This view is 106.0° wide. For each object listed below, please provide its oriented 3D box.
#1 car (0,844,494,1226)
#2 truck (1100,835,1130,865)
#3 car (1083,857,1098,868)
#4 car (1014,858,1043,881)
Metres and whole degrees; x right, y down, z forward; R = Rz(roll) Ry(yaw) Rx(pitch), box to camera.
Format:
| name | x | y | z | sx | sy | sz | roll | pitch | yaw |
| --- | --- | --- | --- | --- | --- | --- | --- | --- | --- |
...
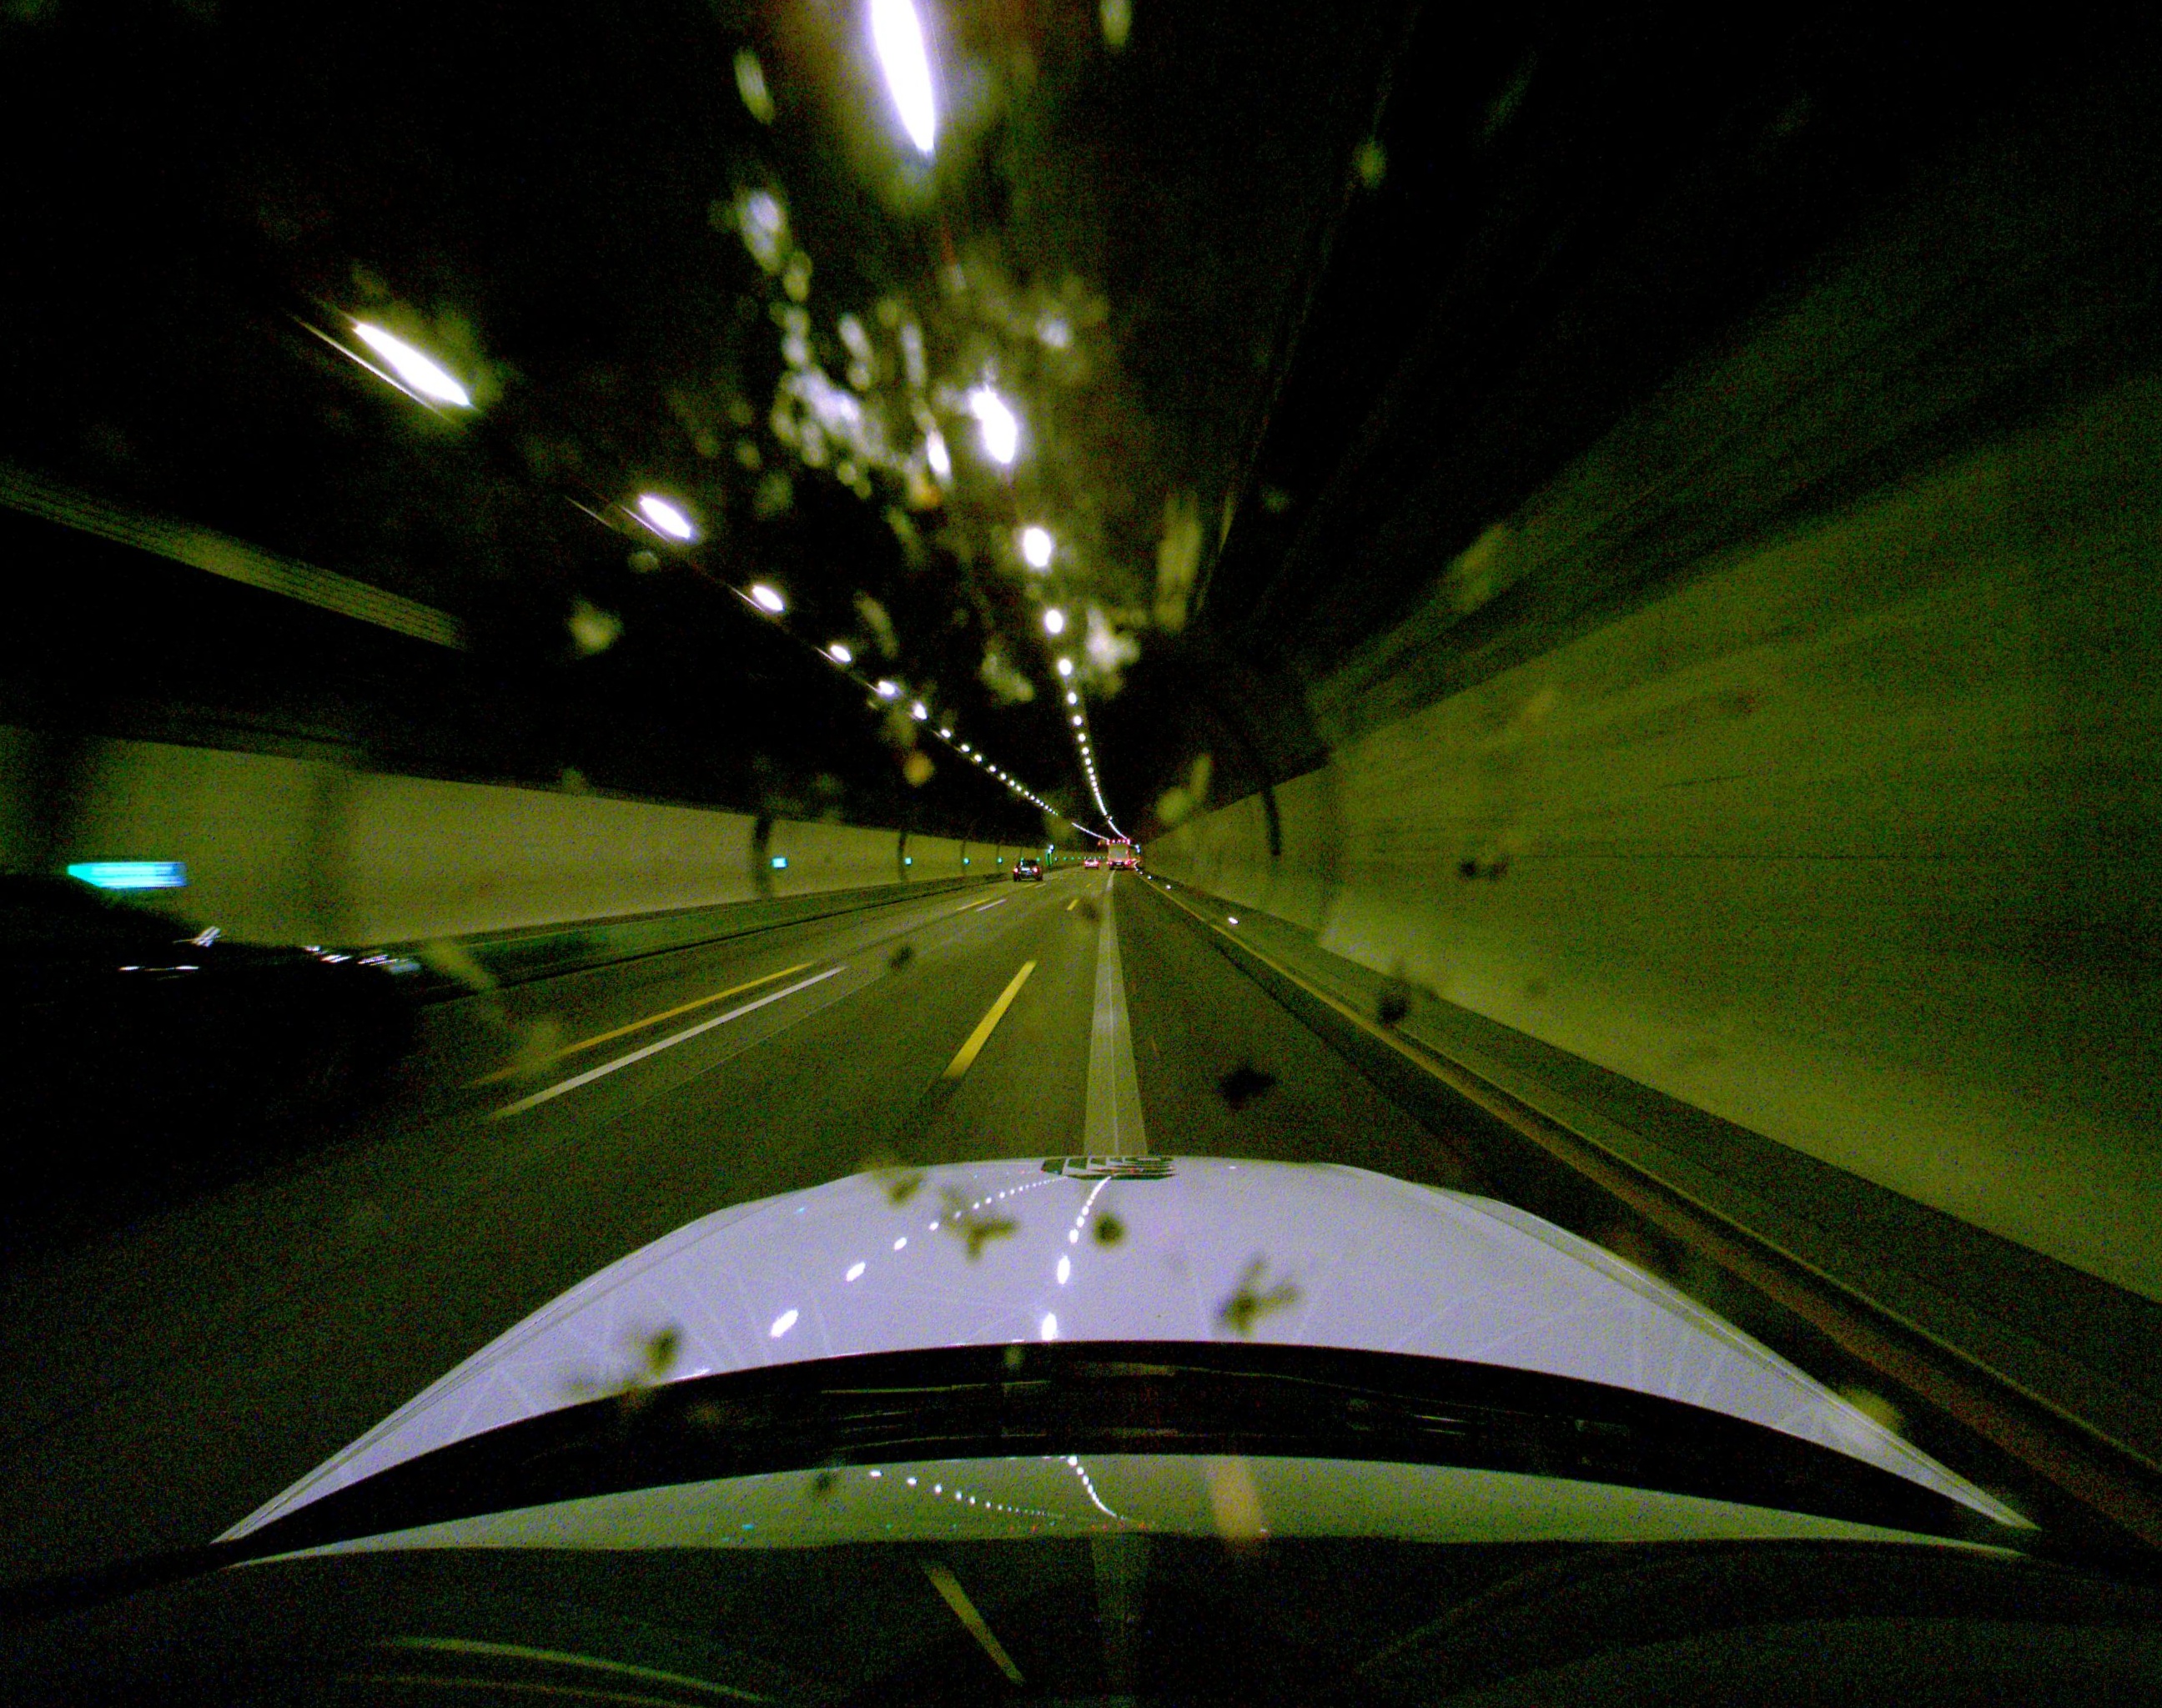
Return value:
| name | x | y | z | sx | sy | sz | roll | pitch | yaw |
| --- | --- | --- | --- | --- | --- | --- | --- | --- | --- |
| car | -5.350 | 0.748 | 3.570 | 1.986 | 1.540 | 4.744 | -1 | 0 | 2 |
| truck | 4.424 | -0.500 | 106.469 | 3.578 | 3.650 | 10.728 | -1 | 0 | 2 |
| car | 1.297 | 1.094 | 109.776 | 1.986 | 1.413 | 4.744 | -1 | 0 | 2 |
| car | -3.478 | 0.976 | 54.076 | 1.684 | 1.417 | 3.921 | -1 | 0 | -1 |
